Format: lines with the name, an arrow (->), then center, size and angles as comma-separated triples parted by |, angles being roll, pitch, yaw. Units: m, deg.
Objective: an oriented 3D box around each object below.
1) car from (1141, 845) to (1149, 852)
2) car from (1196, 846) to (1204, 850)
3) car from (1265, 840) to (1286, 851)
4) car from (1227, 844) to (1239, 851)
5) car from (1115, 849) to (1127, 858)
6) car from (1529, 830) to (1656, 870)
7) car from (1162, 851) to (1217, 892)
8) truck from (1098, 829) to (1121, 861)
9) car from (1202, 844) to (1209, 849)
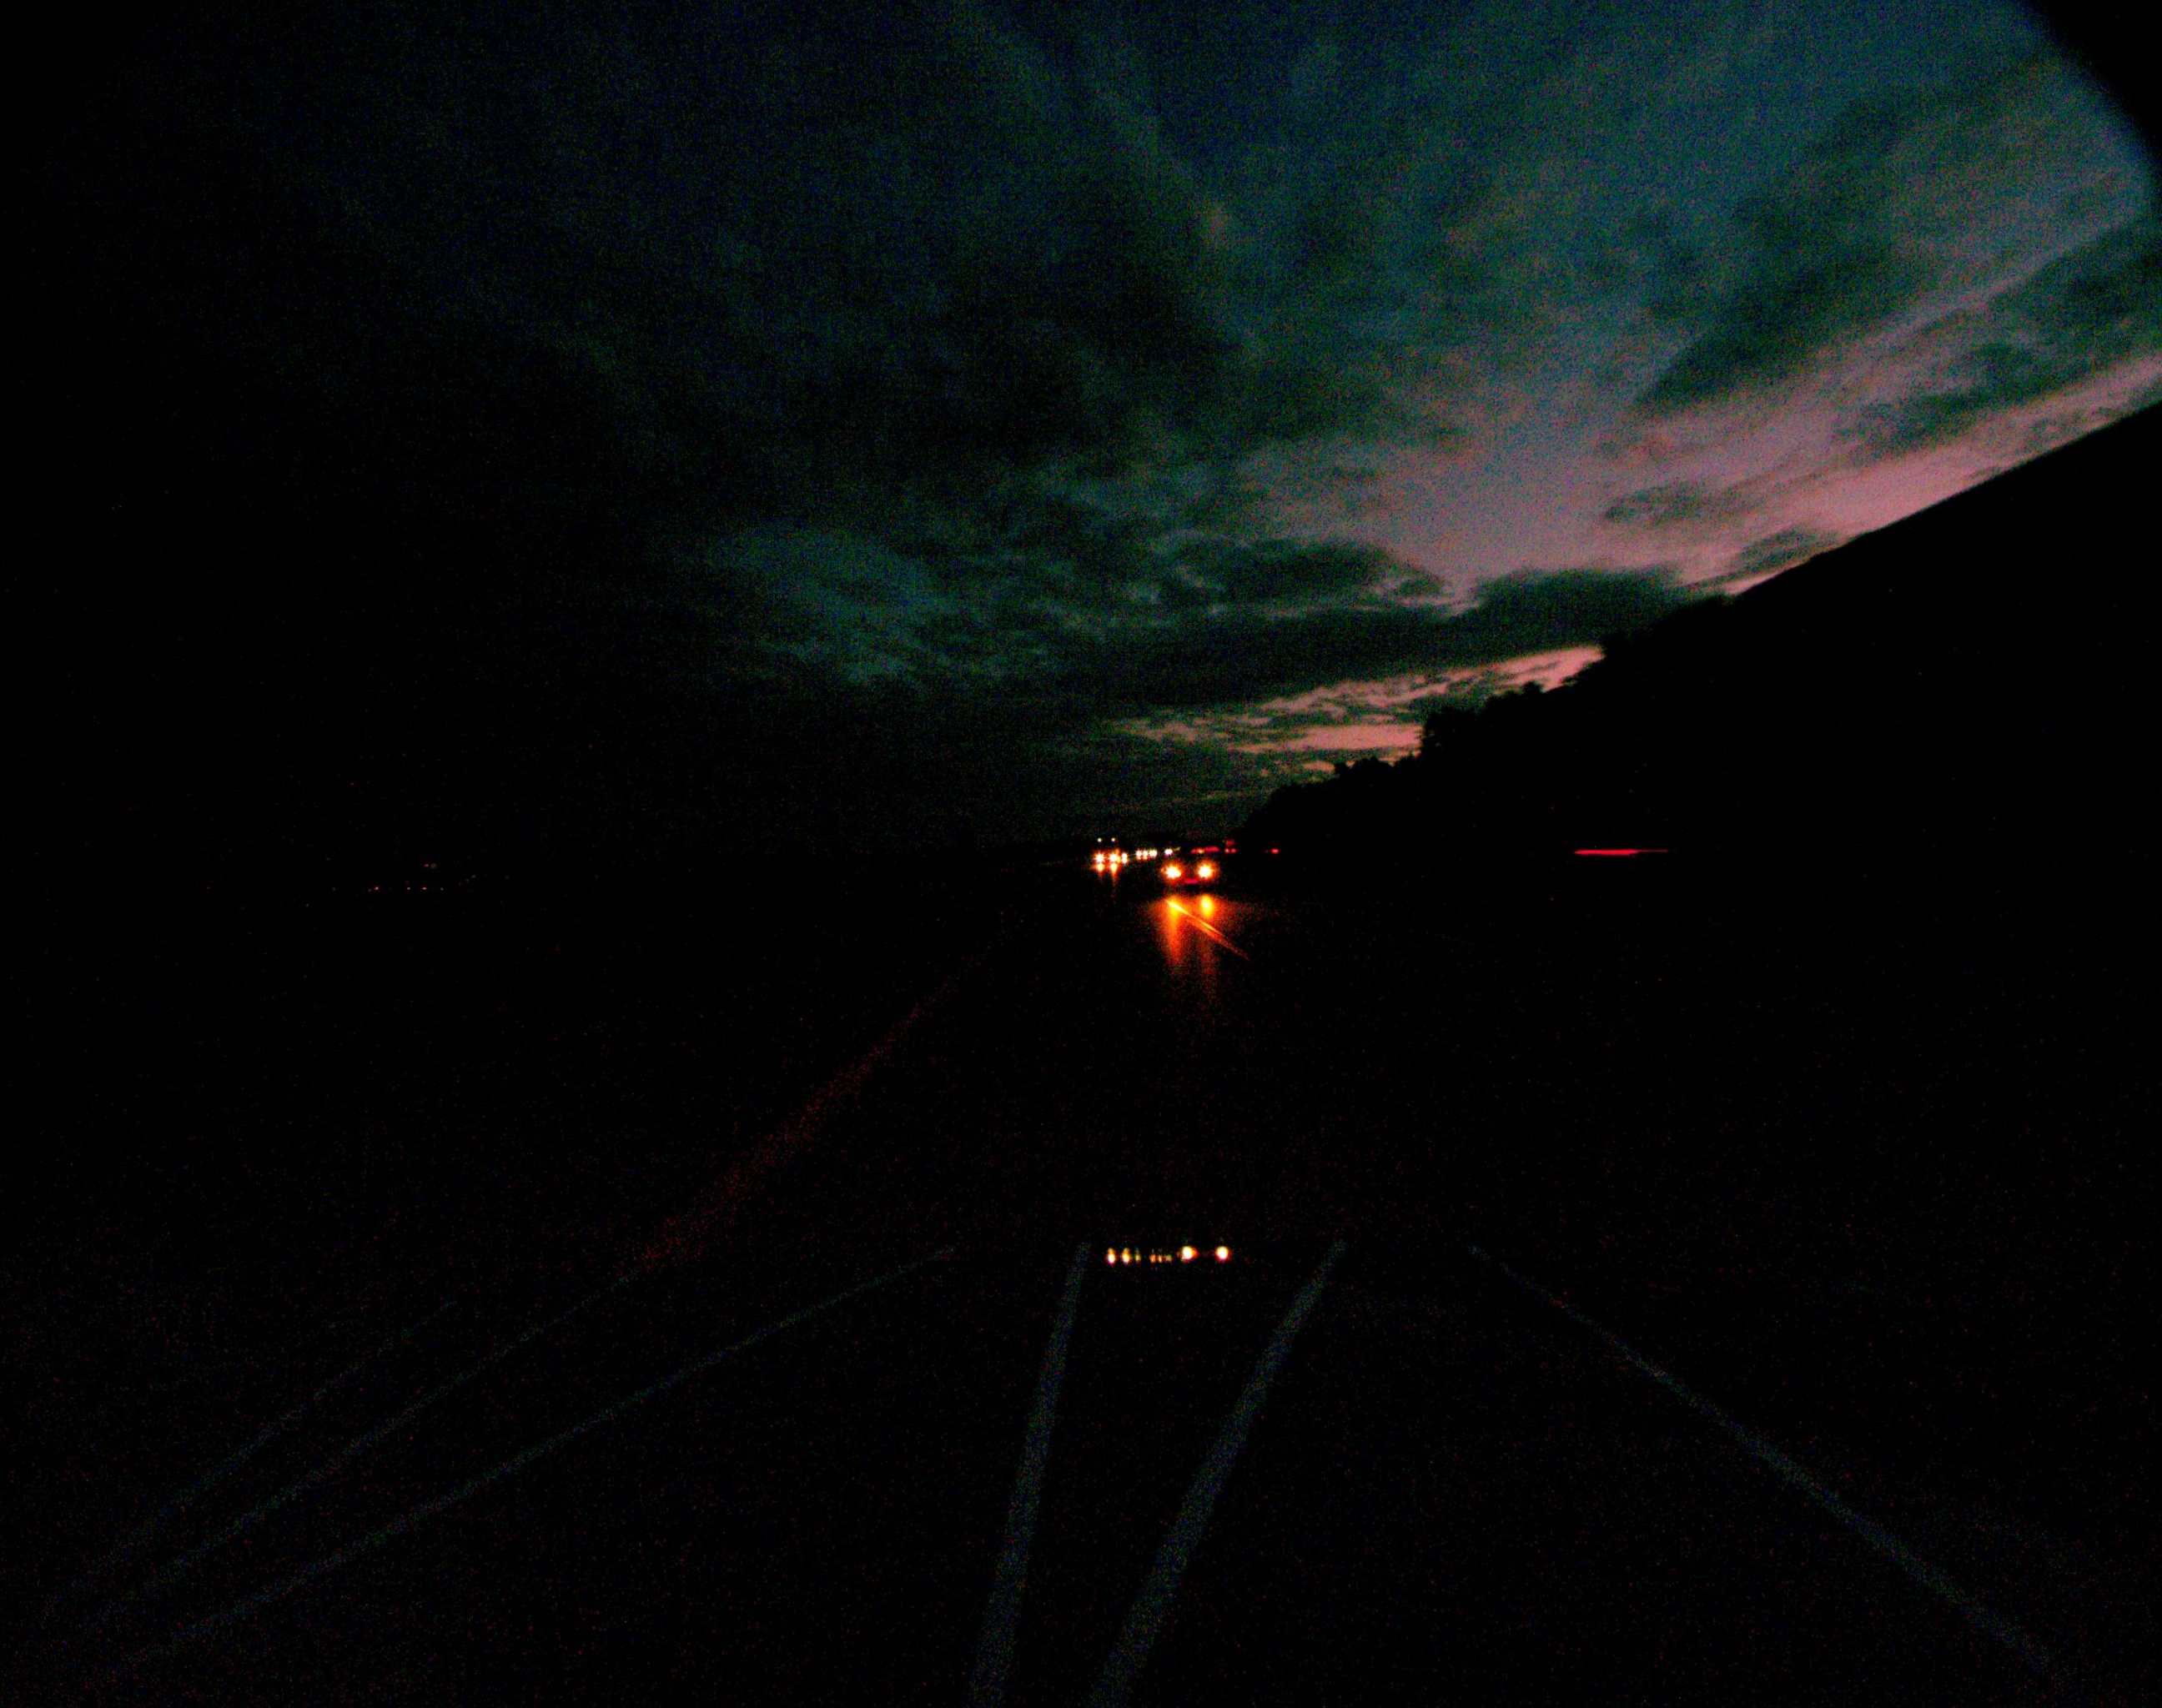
car -> 15.569, -1.364, 185.545 | 1.652, 1.654, 3.777 | -3, 1, 9
car -> 36.854, -1.827, 235.327 | 1.838, 1.328, 4.911 | -3, 1, 6
car -> 29.400, -1.284, 114.917 | 1.998, 1.525, 5.007 | -3, 1, 3
car -> 33.177, -1.430, 165.679 | 1.998, 1.497, 4.506 | -3, 1, 3
car -> 8.444, -0.109, 160.396 | 1.997, 1.715, 4.002 | -3, 1, 9
car -> 19.734, -0.165, 29.617 | 1.693, 1.346, 4.897 | -3, 1, 1
car -> 4.349, 0.650, 31.063 | 1.717, 1.471, 4.000 | -3, 1, 2
truck -> 4.054, -1.312, 110.057 | 3.026, 4.372, 11.615 | -3, 1, 1
car -> 42.243, -2.543, 258.111 | 1.998, 1.445, 3.835 | -3, 1, 4
